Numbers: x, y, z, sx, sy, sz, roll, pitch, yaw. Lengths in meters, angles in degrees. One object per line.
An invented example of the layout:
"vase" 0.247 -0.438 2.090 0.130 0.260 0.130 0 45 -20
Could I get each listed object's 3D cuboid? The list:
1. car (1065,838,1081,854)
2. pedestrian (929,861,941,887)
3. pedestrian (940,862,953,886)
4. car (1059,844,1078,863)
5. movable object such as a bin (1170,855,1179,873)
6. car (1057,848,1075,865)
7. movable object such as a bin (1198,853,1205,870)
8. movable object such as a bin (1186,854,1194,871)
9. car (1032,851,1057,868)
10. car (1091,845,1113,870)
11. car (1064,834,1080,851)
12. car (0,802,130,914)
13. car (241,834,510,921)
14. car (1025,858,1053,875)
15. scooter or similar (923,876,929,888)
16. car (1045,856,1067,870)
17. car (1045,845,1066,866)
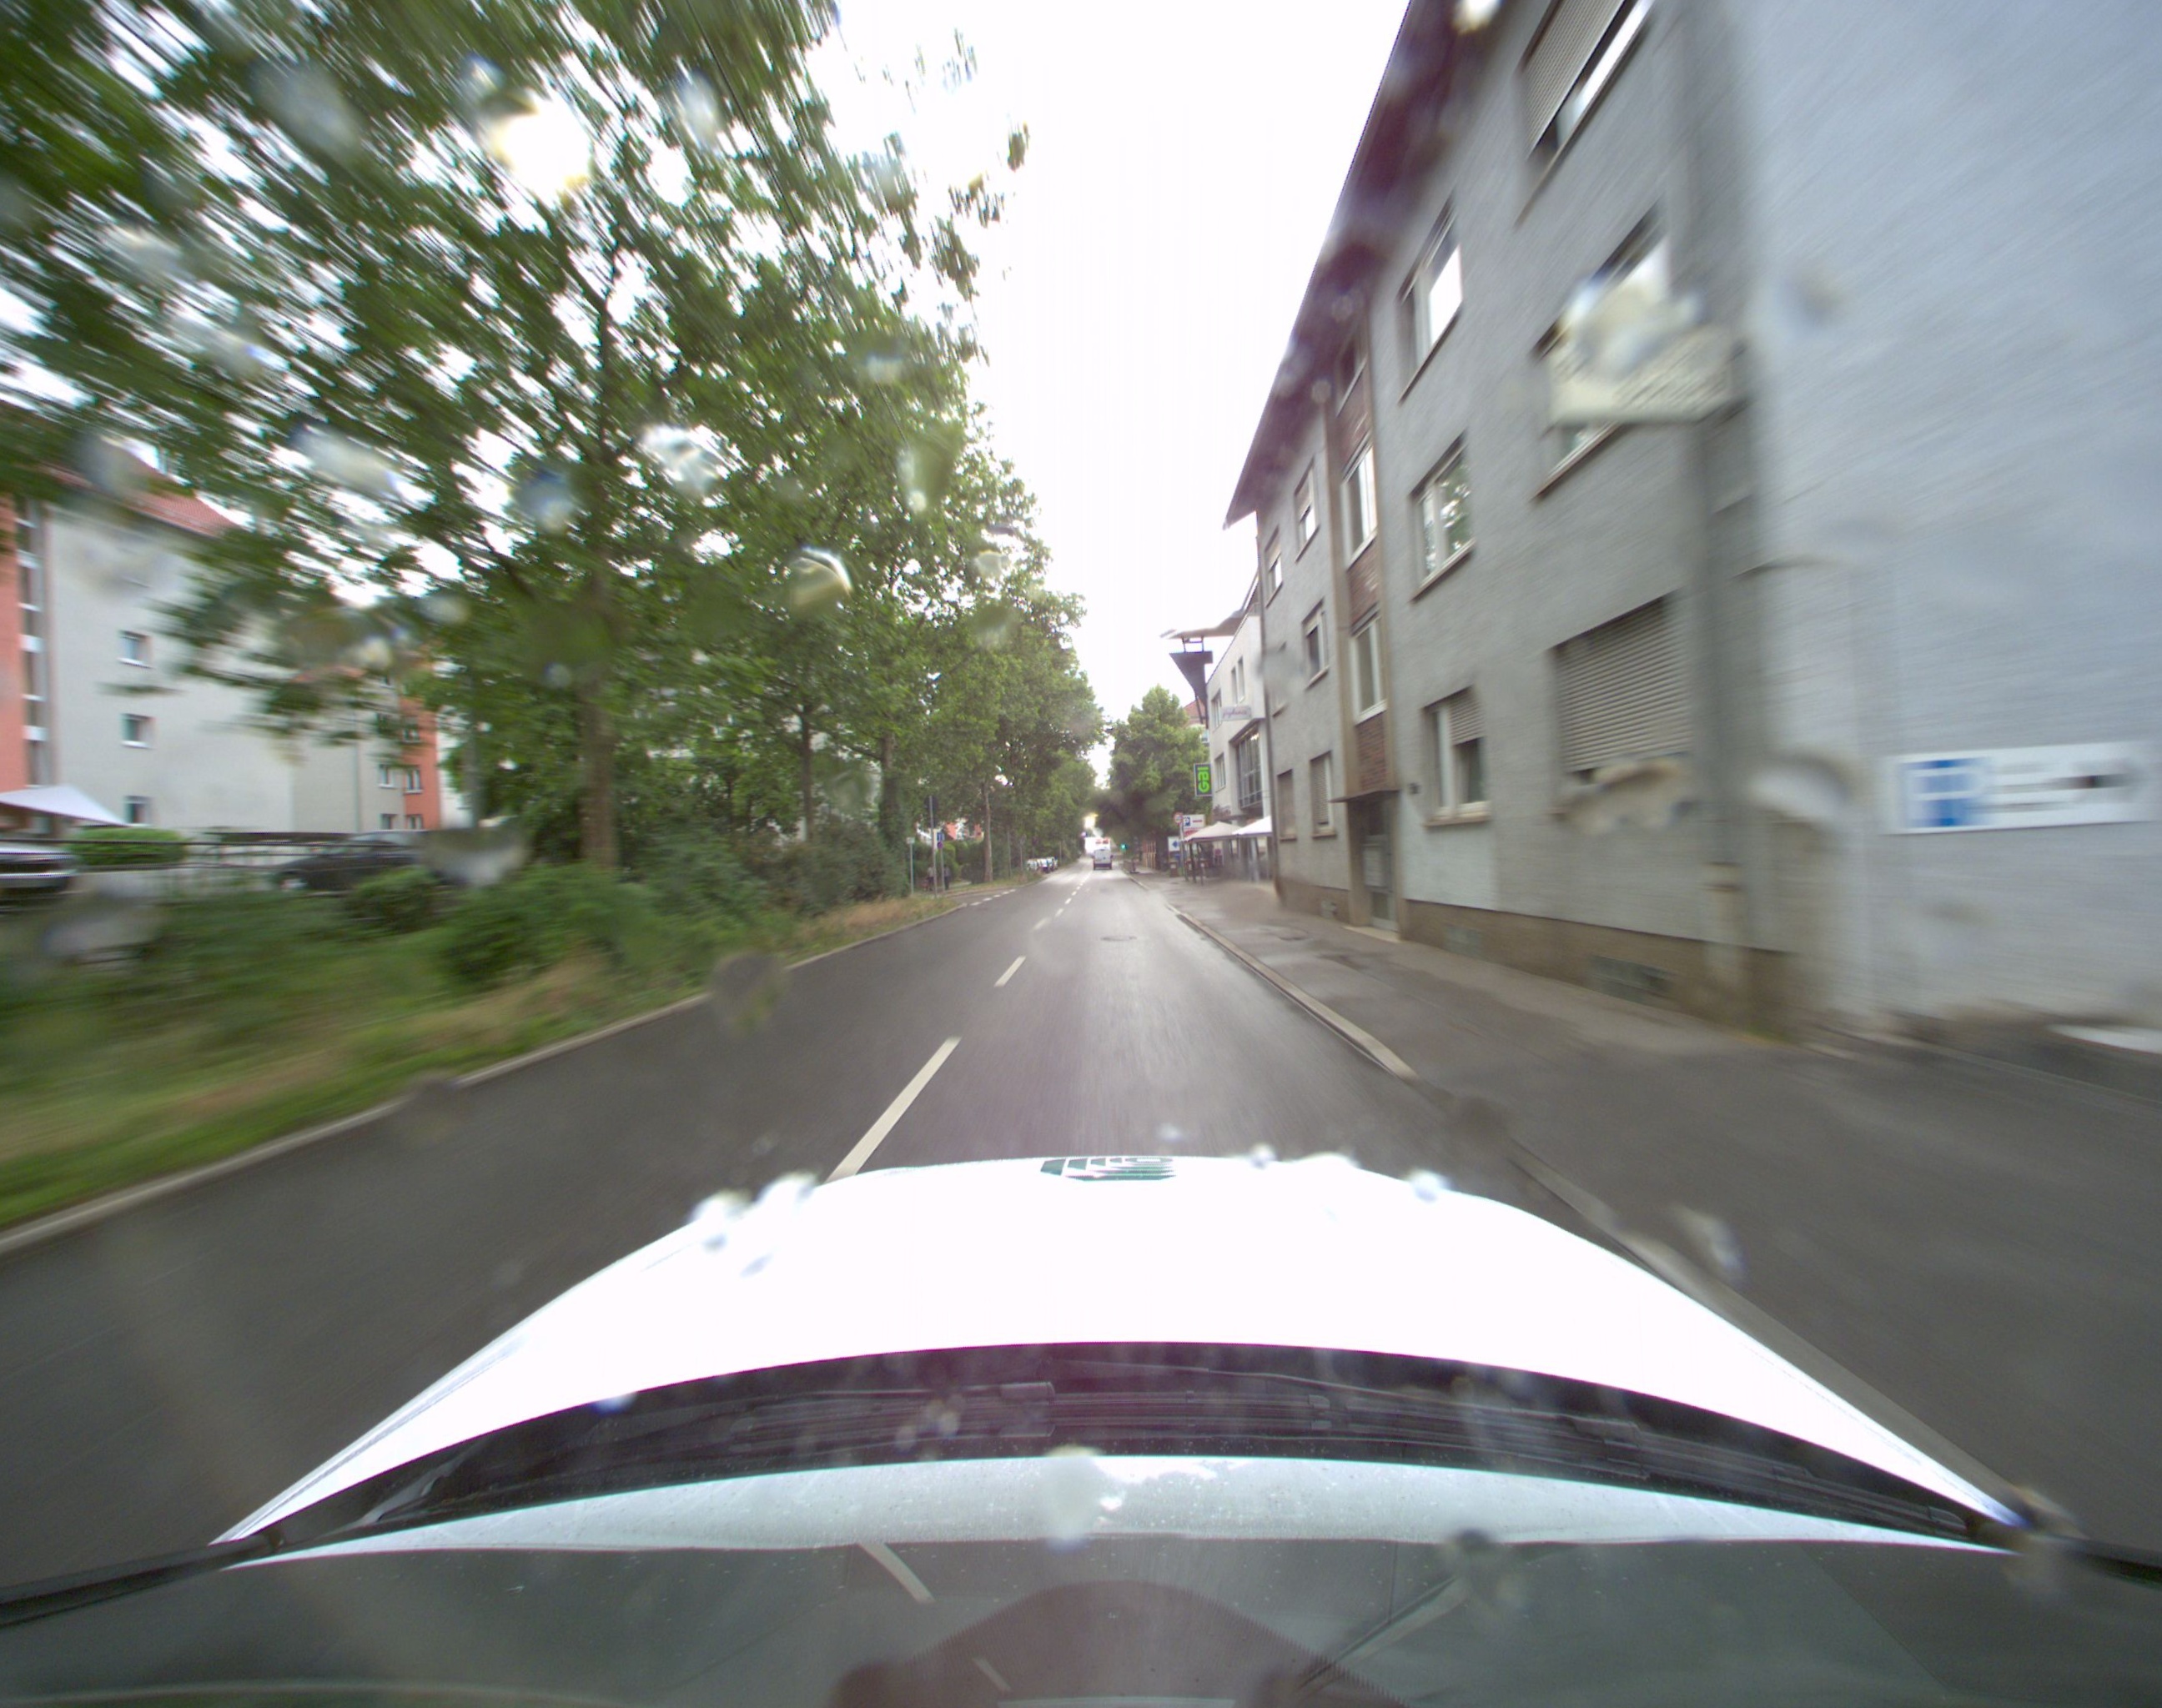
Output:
"car" -1.272 -1.296 133.891 2.205 2.294 4.615 -1 -2 5
"pedestrian" -9.077 1.256 50.563 0.637 1.612 0.623 -1 -2 -1
"pedestrian" -8.785 1.288 53.174 0.679 1.571 0.623 -1 -1 -1
"car" -1.674 -0.034 110.206 2.206 2.294 4.613 -1 -2 4
"movable object such as a bin" 5.906 0.627 51.704 0.399 1.066 0.358 -6 -2 -5
"car" -2.214 0.429 119.639 2.206 2.294 4.613 -1 -2 4
"movable object such as a bin" 7.644 0.489 51.663 0.356 1.067 0.358 -1 -2 -5
"movable object such as a bin" 6.938 0.532 51.685 0.399 1.067 0.358 -2 -2 -5
"car" -3.876 0.643 87.066 2.206 1.729 4.613 -1 -1 4
"car" 2.326 0.438 89.111 2.274 2.553 4.001 -2 -2 2
"car" -1.381 -1.725 126.444 2.206 2.294 4.613 -1 -3 4
"car" -15.198 0.131 10.350 3.975 1.374 1.830 -2 0 -1
"car" -14.909 0.496 17.406 3.973 1.671 2.000 -1 -2 0
"car" -4.174 1.270 80.981 2.206 1.592 4.613 -1 -2 4
"scooter or similar" -9.601 1.737 50.513 0.306 0.681 0.388 -1 -2 -1
"car" -3.047 1.123 99.832 2.206 1.691 4.613 -1 -2 4
"car" -3.248 0.251 105.147 2.206 2.534 4.613 -1 -2 4
